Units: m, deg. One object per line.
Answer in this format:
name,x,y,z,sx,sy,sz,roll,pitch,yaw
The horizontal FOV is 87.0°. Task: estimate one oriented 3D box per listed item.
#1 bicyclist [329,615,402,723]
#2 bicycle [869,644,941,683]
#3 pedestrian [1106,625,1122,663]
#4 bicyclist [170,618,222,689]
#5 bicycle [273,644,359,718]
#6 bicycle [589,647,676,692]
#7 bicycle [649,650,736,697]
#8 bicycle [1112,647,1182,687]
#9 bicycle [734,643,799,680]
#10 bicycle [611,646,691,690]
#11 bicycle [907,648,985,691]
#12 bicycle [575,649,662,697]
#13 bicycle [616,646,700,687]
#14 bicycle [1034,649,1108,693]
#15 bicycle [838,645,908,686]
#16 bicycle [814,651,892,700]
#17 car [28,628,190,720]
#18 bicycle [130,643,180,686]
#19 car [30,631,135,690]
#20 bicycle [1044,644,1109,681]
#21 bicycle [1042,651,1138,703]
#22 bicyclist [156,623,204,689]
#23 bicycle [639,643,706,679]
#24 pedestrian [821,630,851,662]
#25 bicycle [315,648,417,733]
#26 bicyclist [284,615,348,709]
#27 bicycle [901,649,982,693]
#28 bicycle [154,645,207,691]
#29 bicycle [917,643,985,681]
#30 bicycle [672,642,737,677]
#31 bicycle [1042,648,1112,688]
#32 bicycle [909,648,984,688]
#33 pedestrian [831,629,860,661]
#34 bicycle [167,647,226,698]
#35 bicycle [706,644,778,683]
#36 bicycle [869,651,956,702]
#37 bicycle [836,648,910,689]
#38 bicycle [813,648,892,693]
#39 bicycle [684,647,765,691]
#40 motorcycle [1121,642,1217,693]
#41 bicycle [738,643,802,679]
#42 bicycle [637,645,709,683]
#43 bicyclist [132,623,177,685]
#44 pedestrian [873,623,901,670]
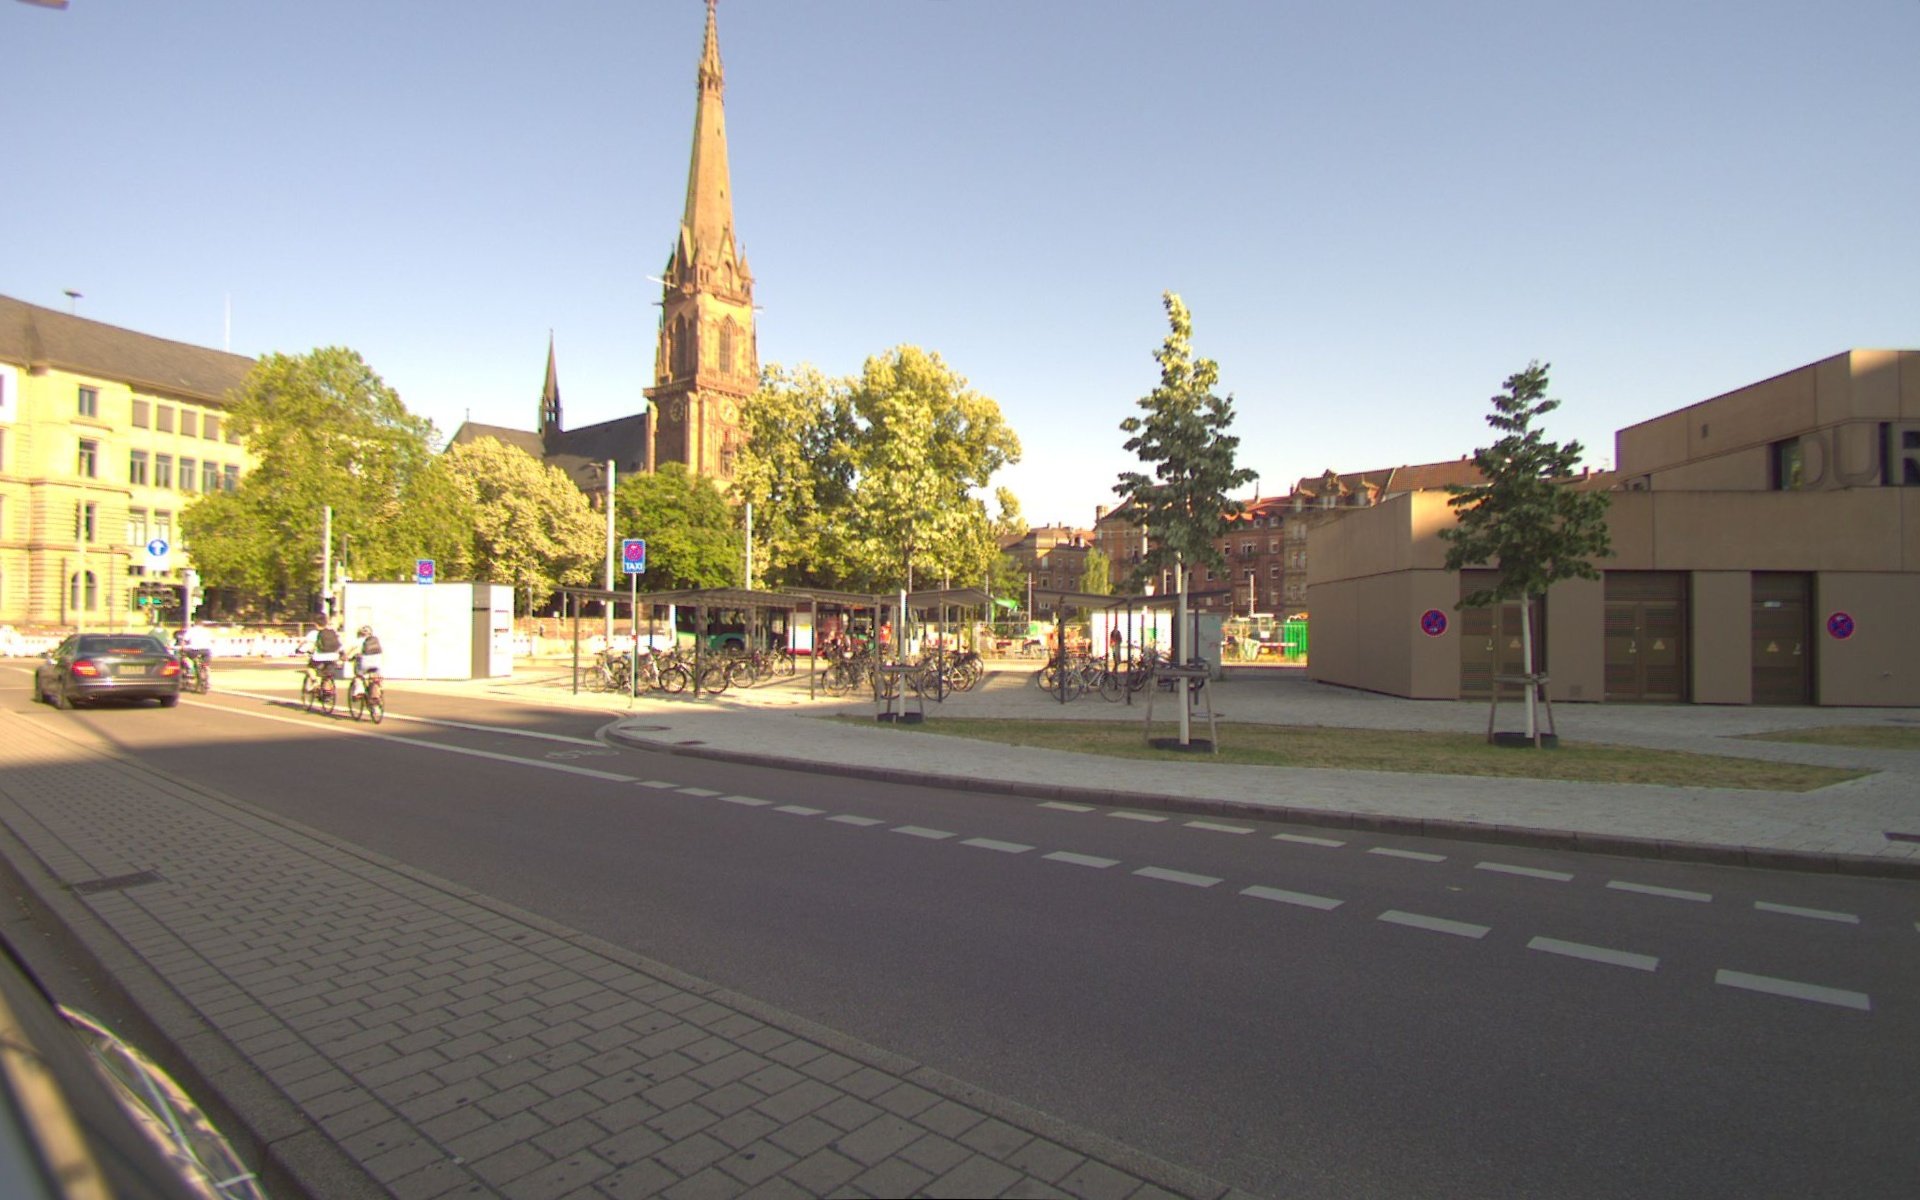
bicyclist,-9.763,1.100,16.612,1.062,1.681,0.754,-1,0,43
bicycle,-1.619,1.873,29.960,2.045,1.097,0.566,1,0,5
pedestrian,6.861,1.951,45.029,0.484,1.699,0.538,-1,-2,42
bicyclist,-18.298,1.259,24.233,0.853,1.666,0.945,2,-2,-43
bicycle,-12.054,1.469,18.904,2.606,1.196,0.754,-1,0,44
bicycle,-8.309,1.751,25.735,1.998,1.062,0.681,1,0,7
bicycle,-6.441,1.763,24.441,1.947,1.062,0.566,1,0,3
bicycle,5.175,1.844,28.043,1.823,1.051,0.523,1,0,2
bicycle,-6.015,1.910,31.461,1.949,1.062,0.417,1,0,7
bicycle,-8.139,1.790,26.694,1.913,1.062,0.681,1,0,7
bicycle,-0.360,1.854,27.115,2.011,1.051,0.602,1,0,9
bicycle,-8.152,1.726,24.165,1.952,1.062,0.565,1,0,11
bicycle,-8.433,1.848,28.309,2.092,1.062,0.837,1,0,4
bicycle,2.820,1.804,25.877,1.823,1.051,0.523,1,0,1
bicycle,-2.474,1.850,28.838,1.907,1.097,0.536,1,0,5
bicycle,-2.532,1.784,24.034,1.776,1.114,0.485,1,0,-1
car,-16.458,1.340,19.512,3.976,1.455,1.782,1,0,41
bicycle,-22.200,1.752,27.885,0.869,1.105,2.191,2,-2,-43
car,-21.863,1.465,25.179,3.500,1.348,1.366,-1,-2,39
bicycle,3.511,1.885,30.547,1.907,1.051,0.522,1,0,5
bicycle,2.956,1.748,23.135,2.096,1.114,0.744,-1,0,2
bicyclist,-20.272,1.435,26.303,0.853,1.666,0.945,2,-2,-43
bicycle,-8.898,1.876,31.372,1.947,1.062,0.497,1,0,2
pedestrian,-5.377,1.992,43.965,1.066,1.359,1.051,-1,0,8
bicycle,-9.802,1.440,16.654,2.606,1.196,0.754,-1,0,44
bicyclist,-11.998,1.129,18.851,1.062,1.681,0.754,-1,0,43
bicycle,-0.469,1.824,26.004,2.009,1.051,0.603,1,0,6
bicycle,-20.181,1.727,26.184,0.869,1.105,2.191,2,-2,-43
bicycle,-0.259,1.904,31.040,2.045,1.097,0.566,1,0,5
bicycle,-8.039,1.865,31.854,1.949,1.062,0.417,1,0,7
bicycle,3.256,1.889,28.266,1.907,1.051,0.522,1,0,5
bicycle,-0.367,1.903,28.627,2.080,1.051,0.603,1,0,4
pedestrian,-5.158,2.024,45.587,1.066,1.359,1.051,-1,0,8
bicycle,-18.296,1.704,24.226,0.869,1.105,2.191,2,-2,-43
bicycle,-6.305,1.836,29.340,1.947,1.062,0.566,1,0,3
bicycle,-1.103,1.764,23.513,1.949,1.114,0.566,1,0,6
bicycle,-2.362,1.852,27.487,1.906,1.051,0.766,1,0,3
bicycle,-2.765,1.810,26.074,1.906,1.051,0.865,1,0,3
bicycle,-6.167,1.796,26.556,1.949,1.062,0.757,1,0,6
motorcycle,5.361,1.725,26.076,2.328,1.257,0.718,-1,0,8
bicycle,-5.979,1.909,31.886,1.949,1.062,0.417,1,0,7
bicycle,-8.385,1.870,29.615,1.945,1.062,0.511,1,0,-2
bicyclist,-22.139,1.459,27.818,0.853,1.666,0.945,2,-2,-43
pedestrian,-3.183,2.018,44.254,1.018,2.029,1.132,-1,0,8
